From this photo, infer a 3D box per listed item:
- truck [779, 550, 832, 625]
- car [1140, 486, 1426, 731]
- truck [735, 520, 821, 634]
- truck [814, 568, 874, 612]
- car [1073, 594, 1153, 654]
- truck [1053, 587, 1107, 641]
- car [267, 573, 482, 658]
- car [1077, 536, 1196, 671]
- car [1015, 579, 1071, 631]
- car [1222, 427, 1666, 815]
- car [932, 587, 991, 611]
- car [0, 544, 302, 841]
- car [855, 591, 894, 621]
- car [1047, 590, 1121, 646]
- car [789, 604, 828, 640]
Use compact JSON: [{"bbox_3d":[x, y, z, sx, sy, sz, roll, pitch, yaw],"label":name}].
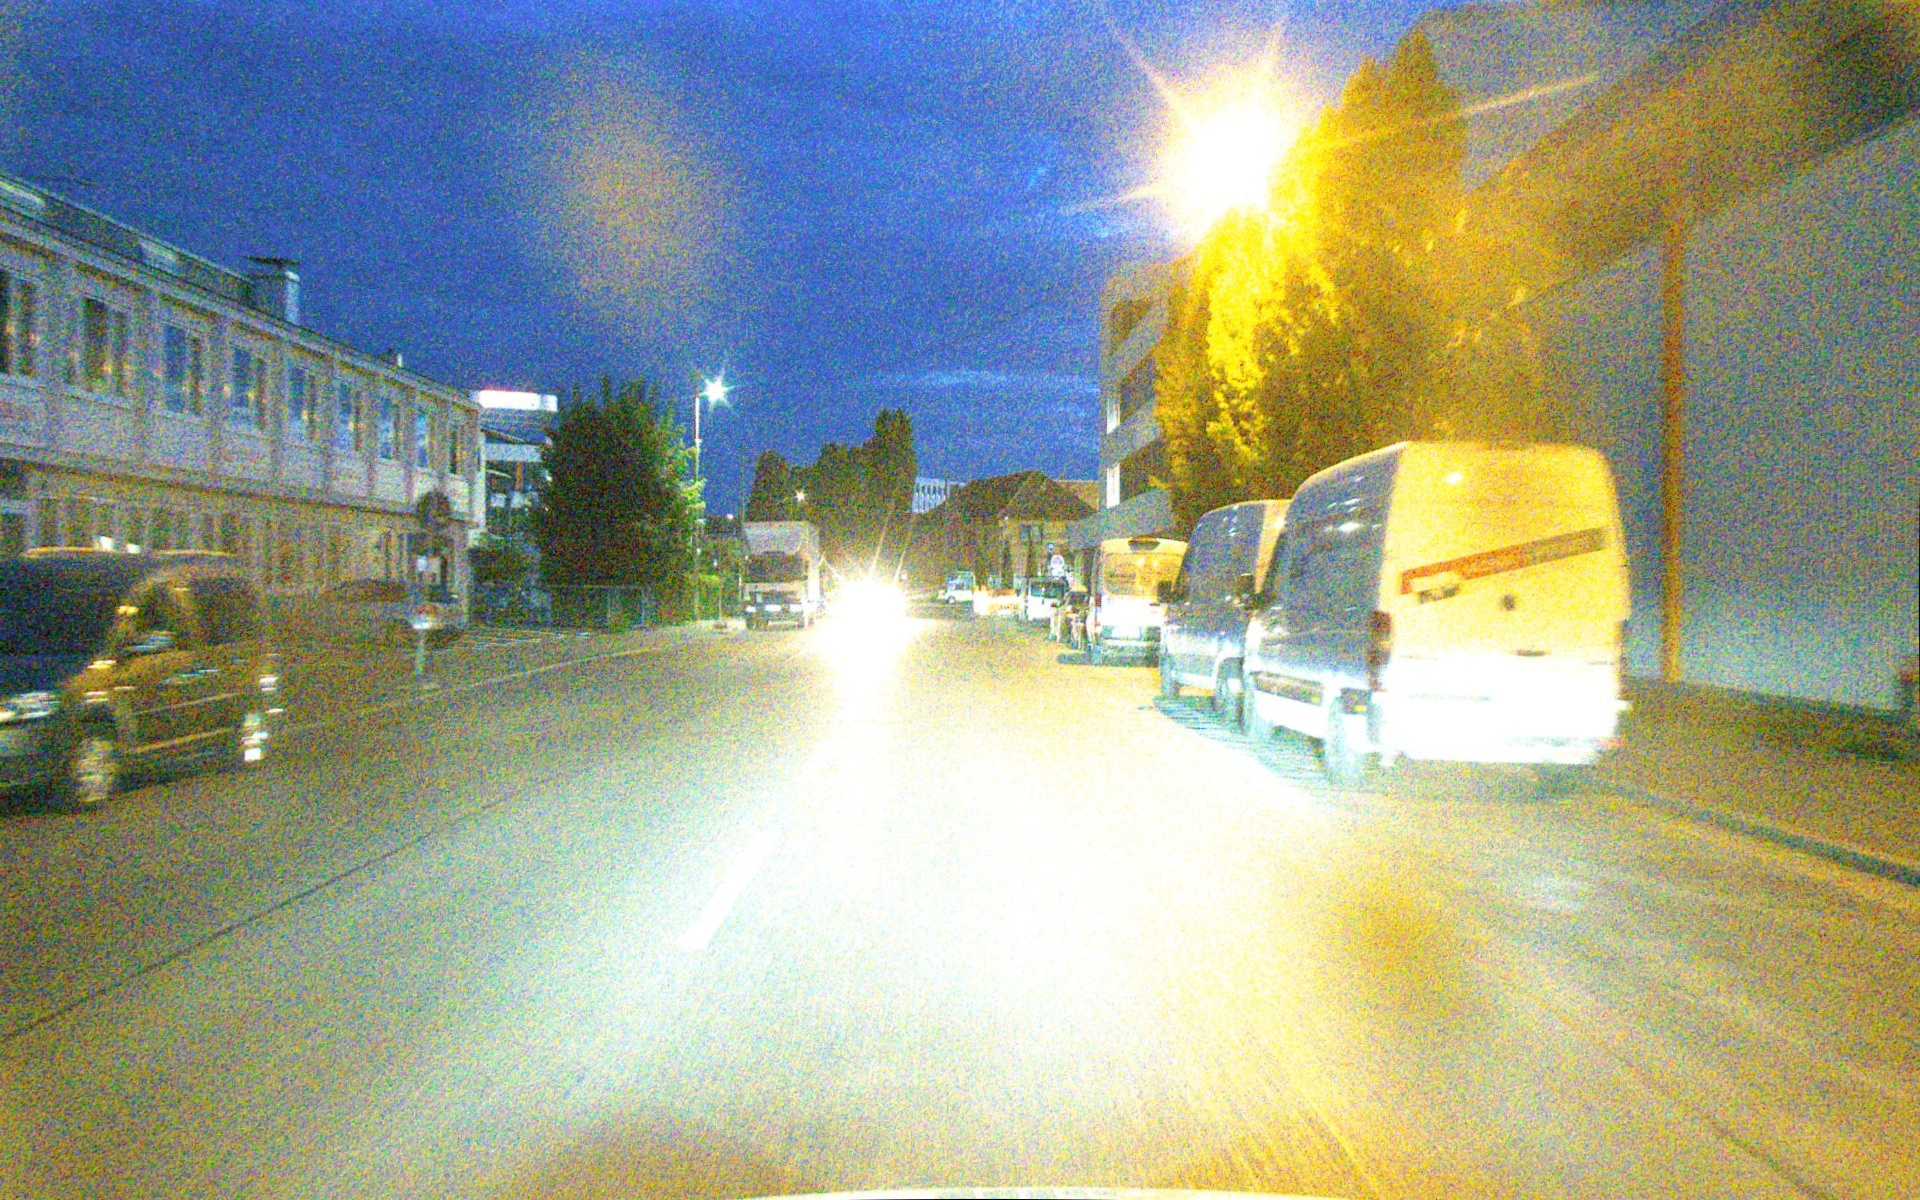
[{"bbox_3d":[-9.261,-0.711,98.351,2.720,4.192,9.324,0,0,-8],"label":"truck"},{"bbox_3d":[3.925,0.079,21.369,2.086,2.616,5.905,3,0,-4],"label":"car"},{"bbox_3d":[-7.012,-0.835,64.896,2.691,4.104,9.555,1,0,-3],"label":"truck"},{"bbox_3d":[-10.361,-0.860,146.657,2.716,3.849,9.078,0,0,-21],"label":"truck"},{"bbox_3d":[3.834,0.569,42.089,1.733,1.437,4.551,0,0,2],"label":"car"},{"bbox_3d":[3.848,0.427,53.517,1.342,1.673,3.811,0,0,-2],"label":"truck"},{"bbox_3d":[-12.820,0.316,36.269,4.043,1.456,1.897,5,1,17],"label":"car"},{"bbox_3d":[3.687,0.060,35.594,1.952,2.569,5.910,3,0,2],"label":"car"},{"bbox_3d":[3.350,0.190,67.477,1.953,2.049,4.911,0,0,-1],"label":"car"},{"bbox_3d":[3.873,0.134,14.604,1.953,2.616,6.013,3,0,-1],"label":"car"},{"bbox_3d":[0.138,-0.101,129.934,4.267,1.675,1.879,-3,1,-23],"label":"car"},{"bbox_3d":[-6.755,0.583,12.667,1.777,1.881,4.413,0,0,-2],"label":"car"},{"bbox_3d":[-4.210,0.298,81.654,1.820,1.445,3.999,0,0,-2],"label":"car"},{"bbox_3d":[3.572,0.486,48.307,1.906,1.515,5.011,0,0,2],"label":"car"},{"bbox_3d":[-7.642,1.065,83.750,1.906,1.747,5.193,0,0,-5],"label":"car"}]
